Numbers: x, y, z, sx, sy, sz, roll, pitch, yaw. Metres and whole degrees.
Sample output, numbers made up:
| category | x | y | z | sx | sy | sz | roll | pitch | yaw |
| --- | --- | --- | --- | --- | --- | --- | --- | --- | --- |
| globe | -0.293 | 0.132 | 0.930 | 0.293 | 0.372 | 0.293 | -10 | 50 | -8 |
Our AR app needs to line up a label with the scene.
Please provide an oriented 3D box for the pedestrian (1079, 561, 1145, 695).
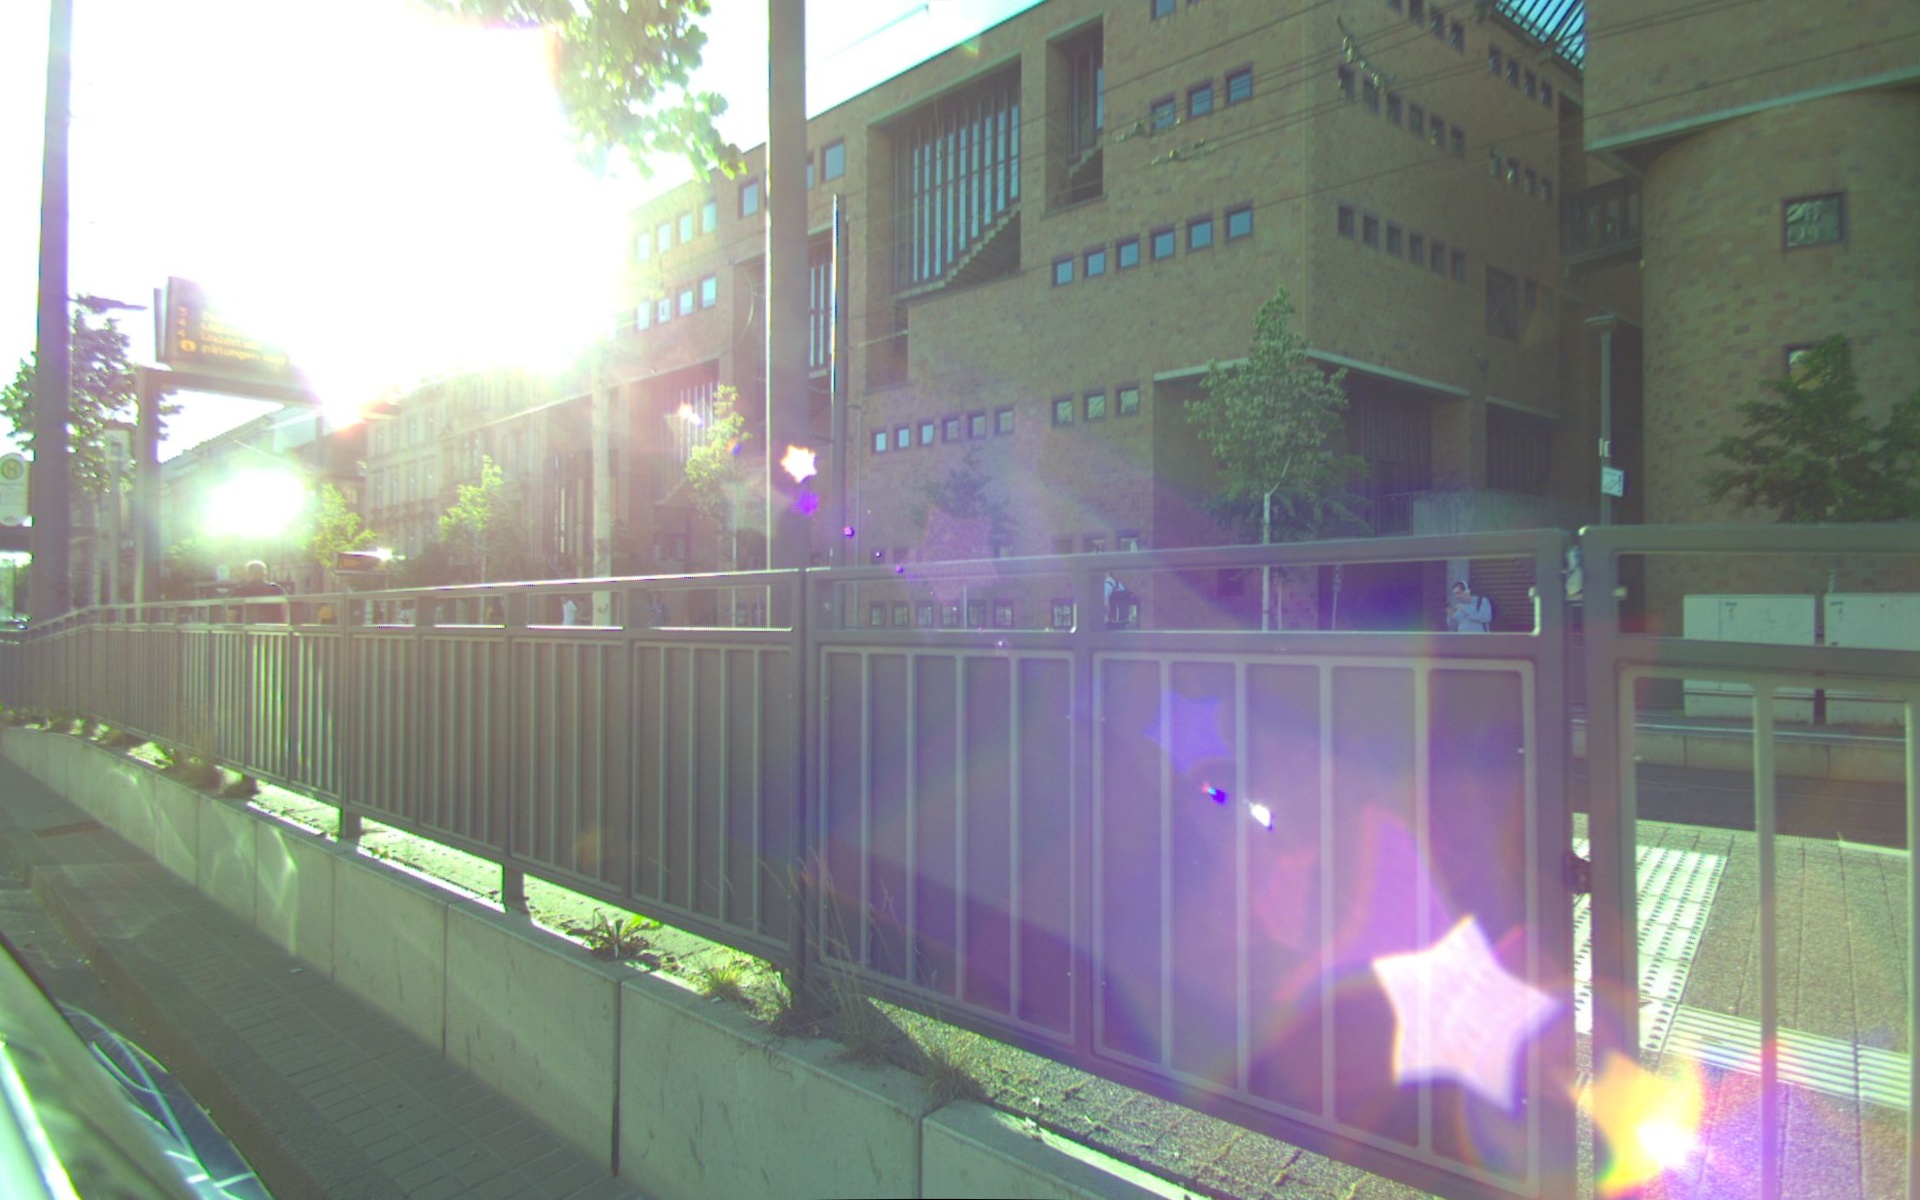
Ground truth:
| category | x | y | z | sx | sy | sz | roll | pitch | yaw |
| --- | --- | --- | --- | --- | --- | --- | --- | --- | --- |
| pedestrian | 2.149 | 0.379 | 14.286 | 0.668 | 1.821 | 0.677 | -1 | 0 | 40 |

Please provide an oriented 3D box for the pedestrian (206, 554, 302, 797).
| category | x | y | z | sx | sy | sz | roll | pitch | yaw |
| --- | --- | --- | --- | --- | --- | --- | --- | --- | --- |
| pedestrian | -7.482 | 0.764 | 10.732 | 0.625 | 2.461 | 0.676 | -1 | 0 | 38 |

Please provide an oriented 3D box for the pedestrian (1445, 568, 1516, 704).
| category | x | y | z | sx | sy | sz | roll | pitch | yaw |
| --- | --- | --- | --- | --- | --- | --- | --- | --- | --- |
| pedestrian | 6.588 | 0.438 | 12.806 | 0.684 | 1.647 | 0.660 | -1 | 0 | 37 |
